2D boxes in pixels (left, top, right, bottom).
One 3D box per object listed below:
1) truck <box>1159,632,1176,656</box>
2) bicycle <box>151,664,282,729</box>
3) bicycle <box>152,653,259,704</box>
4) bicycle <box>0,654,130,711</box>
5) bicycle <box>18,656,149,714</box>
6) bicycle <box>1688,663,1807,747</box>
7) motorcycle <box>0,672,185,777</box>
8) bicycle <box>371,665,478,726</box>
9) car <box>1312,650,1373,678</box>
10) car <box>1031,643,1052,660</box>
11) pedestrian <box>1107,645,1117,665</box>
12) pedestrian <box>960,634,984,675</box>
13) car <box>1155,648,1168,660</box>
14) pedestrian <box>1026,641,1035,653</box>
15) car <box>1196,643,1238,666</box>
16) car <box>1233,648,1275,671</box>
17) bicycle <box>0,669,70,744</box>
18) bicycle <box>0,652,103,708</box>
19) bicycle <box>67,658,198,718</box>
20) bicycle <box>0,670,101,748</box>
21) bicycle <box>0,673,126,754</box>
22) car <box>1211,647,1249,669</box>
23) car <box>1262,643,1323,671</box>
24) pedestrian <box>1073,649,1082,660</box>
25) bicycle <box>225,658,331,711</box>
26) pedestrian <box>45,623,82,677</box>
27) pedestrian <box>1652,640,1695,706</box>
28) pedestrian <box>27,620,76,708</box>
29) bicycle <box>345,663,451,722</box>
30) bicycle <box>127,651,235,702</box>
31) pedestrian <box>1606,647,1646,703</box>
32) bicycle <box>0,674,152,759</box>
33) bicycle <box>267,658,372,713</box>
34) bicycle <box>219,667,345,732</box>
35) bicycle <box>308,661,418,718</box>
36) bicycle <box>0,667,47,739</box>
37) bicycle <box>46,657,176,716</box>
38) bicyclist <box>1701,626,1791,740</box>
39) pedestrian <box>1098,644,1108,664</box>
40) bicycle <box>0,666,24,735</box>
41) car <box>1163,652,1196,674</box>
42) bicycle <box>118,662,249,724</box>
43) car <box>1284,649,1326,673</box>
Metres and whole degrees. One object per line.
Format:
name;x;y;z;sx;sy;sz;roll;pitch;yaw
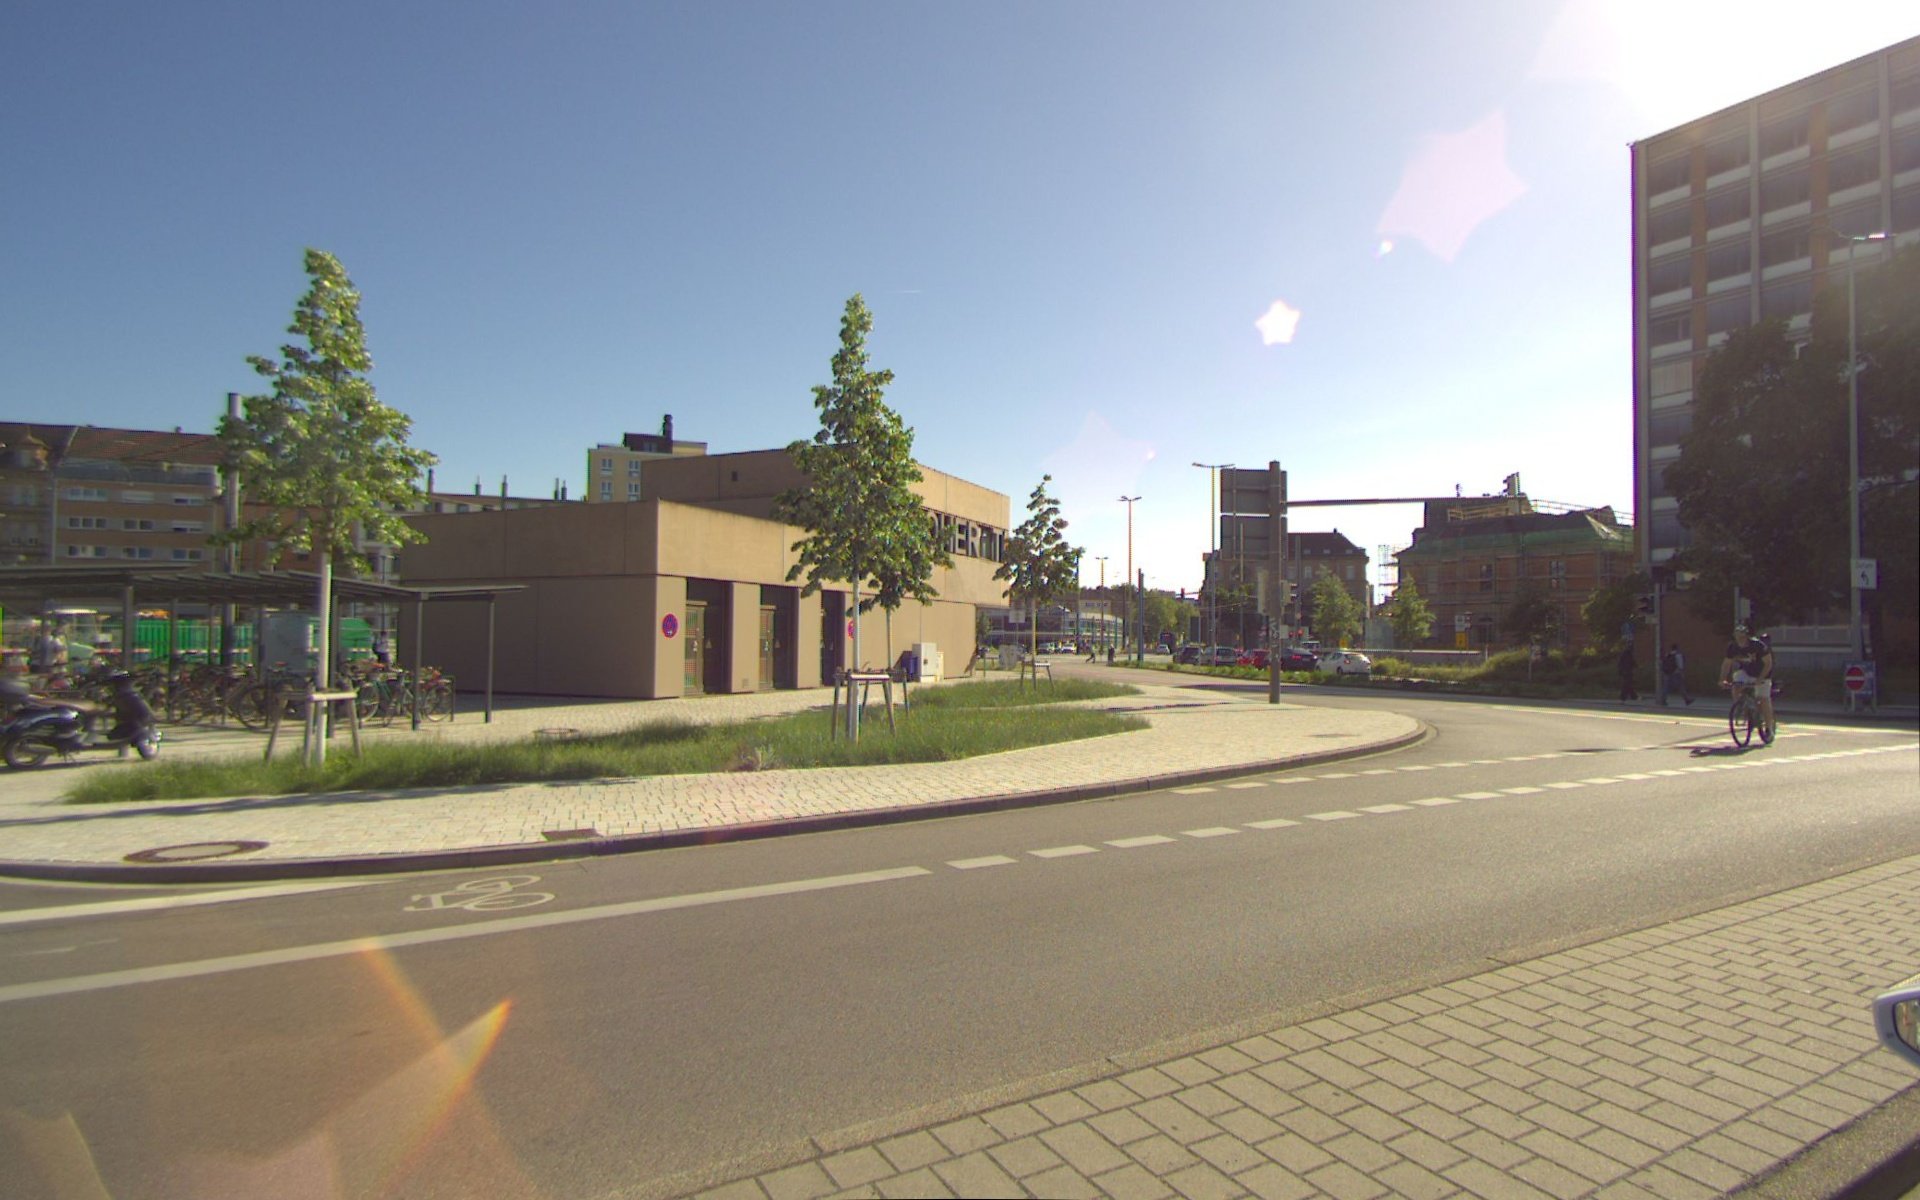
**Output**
truck;34.974;7.361;169.335;2.549;3.723;5.229;2;0;10
bicycle;-12.944;1.659;17.560;0.557;1.051;1.788;-1;-3;22
bicycle;-16.189;1.667;21.606;0.557;1.051;1.788;-1;-3;22
bicycle;-17.183;1.563;19.334;0.557;1.051;1.788;-1;-3;22
bicycle;-16.622;1.585;19.097;0.557;1.051;1.788;-1;-3;22
bicycle;11.774;1.532;15.006;1.848;1.180;0.742;2;-3;-30
motorcycle;-10.925;1.500;12.483;0.584;1.134;1.983;0;-2;26
bicycle;-9.847;1.735;18.547;0.557;1.051;1.788;-1;-3;22
car;21.259;3.560;55.982;1.665;1.454;3.733;1;-2;-7
car;11.100;6.943;136.554;1.960;2.040;4.001;2;0;16
pedestrian;12.383;4.499;81.828;0.566;1.632;0.565;2;0;-30
pedestrian;0.522;2.331;42.824;0.778;1.745;0.594;-2;-5;38
car;28.591;7.632;142.537;1.750;1.565;3.642;2;0;13
pedestrian;8.952;5.940;126.899;0.853;1.427;0.690;2;0;-23
car;17.441;3.675;68.299;1.697;1.461;3.798;0;-2;-3
car;20.184;4.054;69.061;1.644;1.461;3.722;3;-2;-2
bicycle;-14.014;1.532;14.408;0.557;1.051;1.788;-1;-3;22
bicycle;-17.864;1.540;19.505;0.557;1.051;1.788;-1;-3;22
bicycle;-15.240;1.594;18.558;0.557;1.051;1.788;-1;-3;22
bicycle;-13.331;1.527;14.152;0.557;1.051;1.788;-1;-3;22
bicycle;-12.782;1.549;13.928;0.557;1.051;1.788;-1;-3;22
car;20.258;4.349;75.510;1.697;1.461;3.799;3;-2;-2
car;20.794;3.540;63.021;1.953;1.645;4.374;1;-2;-7
pedestrian;15.136;7.047;129.537;0.855;1.427;0.688;2;0;-32
bicycle;-14.094;1.727;20.808;0.557;1.051;1.788;-1;-3;22
pedestrian;-26.107;1.444;29.257;0.550;1.538;0.588;0;-2;25
pedestrian;20.450;2.080;28.789;1.086;1.856;0.748;4;-3;-38
pedestrian;-18.503;1.295;20.470;0.612;1.746;0.675;2;-2;-35
bicycle;-10.636;1.722;19.075;0.557;1.051;1.788;-1;-3;22
bicycle;-16.866;1.648;21.790;0.557;1.051;1.788;-1;-3;22
pedestrian;19.816;2.223;29.903;0.670;1.633;0.717;2;-2;-14
bicycle;-12.184;1.544;13.667;0.557;1.051;1.788;-1;-3;22
bicycle;-12.924;1.712;20.338;0.557;1.051;1.788;-1;-3;22
bicycle;-11.675;1.686;17.364;0.557;1.051;1.788;-1;-3;22
bicycle;-11.646;1.725;19.659;0.558;1.051;1.785;-2;-4;30
bicycle;-14.591;1.516;14.650;0.557;1.051;1.788;-1;-3;22
bicycle;-15.882;1.592;18.854;0.557;1.051;1.788;-1;-3;22
bicyclist;11.739;1.220;15.003;0.966;1.642;0.716;2;-3;-30
pedestrian;12.310;4.635;86.401;0.643;1.632;0.676;2;0;-4
bicycle;-15.206;1.517;14.934;0.557;1.051;1.788;-1;-3;22
car;16.388;4.685;75.125;1.696;1.461;3.912;3;-2;2
bicycle;-13.839;1.634;17.962;0.557;1.051;1.788;-1;-3;22
car;25.880;4.570;75.459;1.846;1.638;3.626;2;-3;0
